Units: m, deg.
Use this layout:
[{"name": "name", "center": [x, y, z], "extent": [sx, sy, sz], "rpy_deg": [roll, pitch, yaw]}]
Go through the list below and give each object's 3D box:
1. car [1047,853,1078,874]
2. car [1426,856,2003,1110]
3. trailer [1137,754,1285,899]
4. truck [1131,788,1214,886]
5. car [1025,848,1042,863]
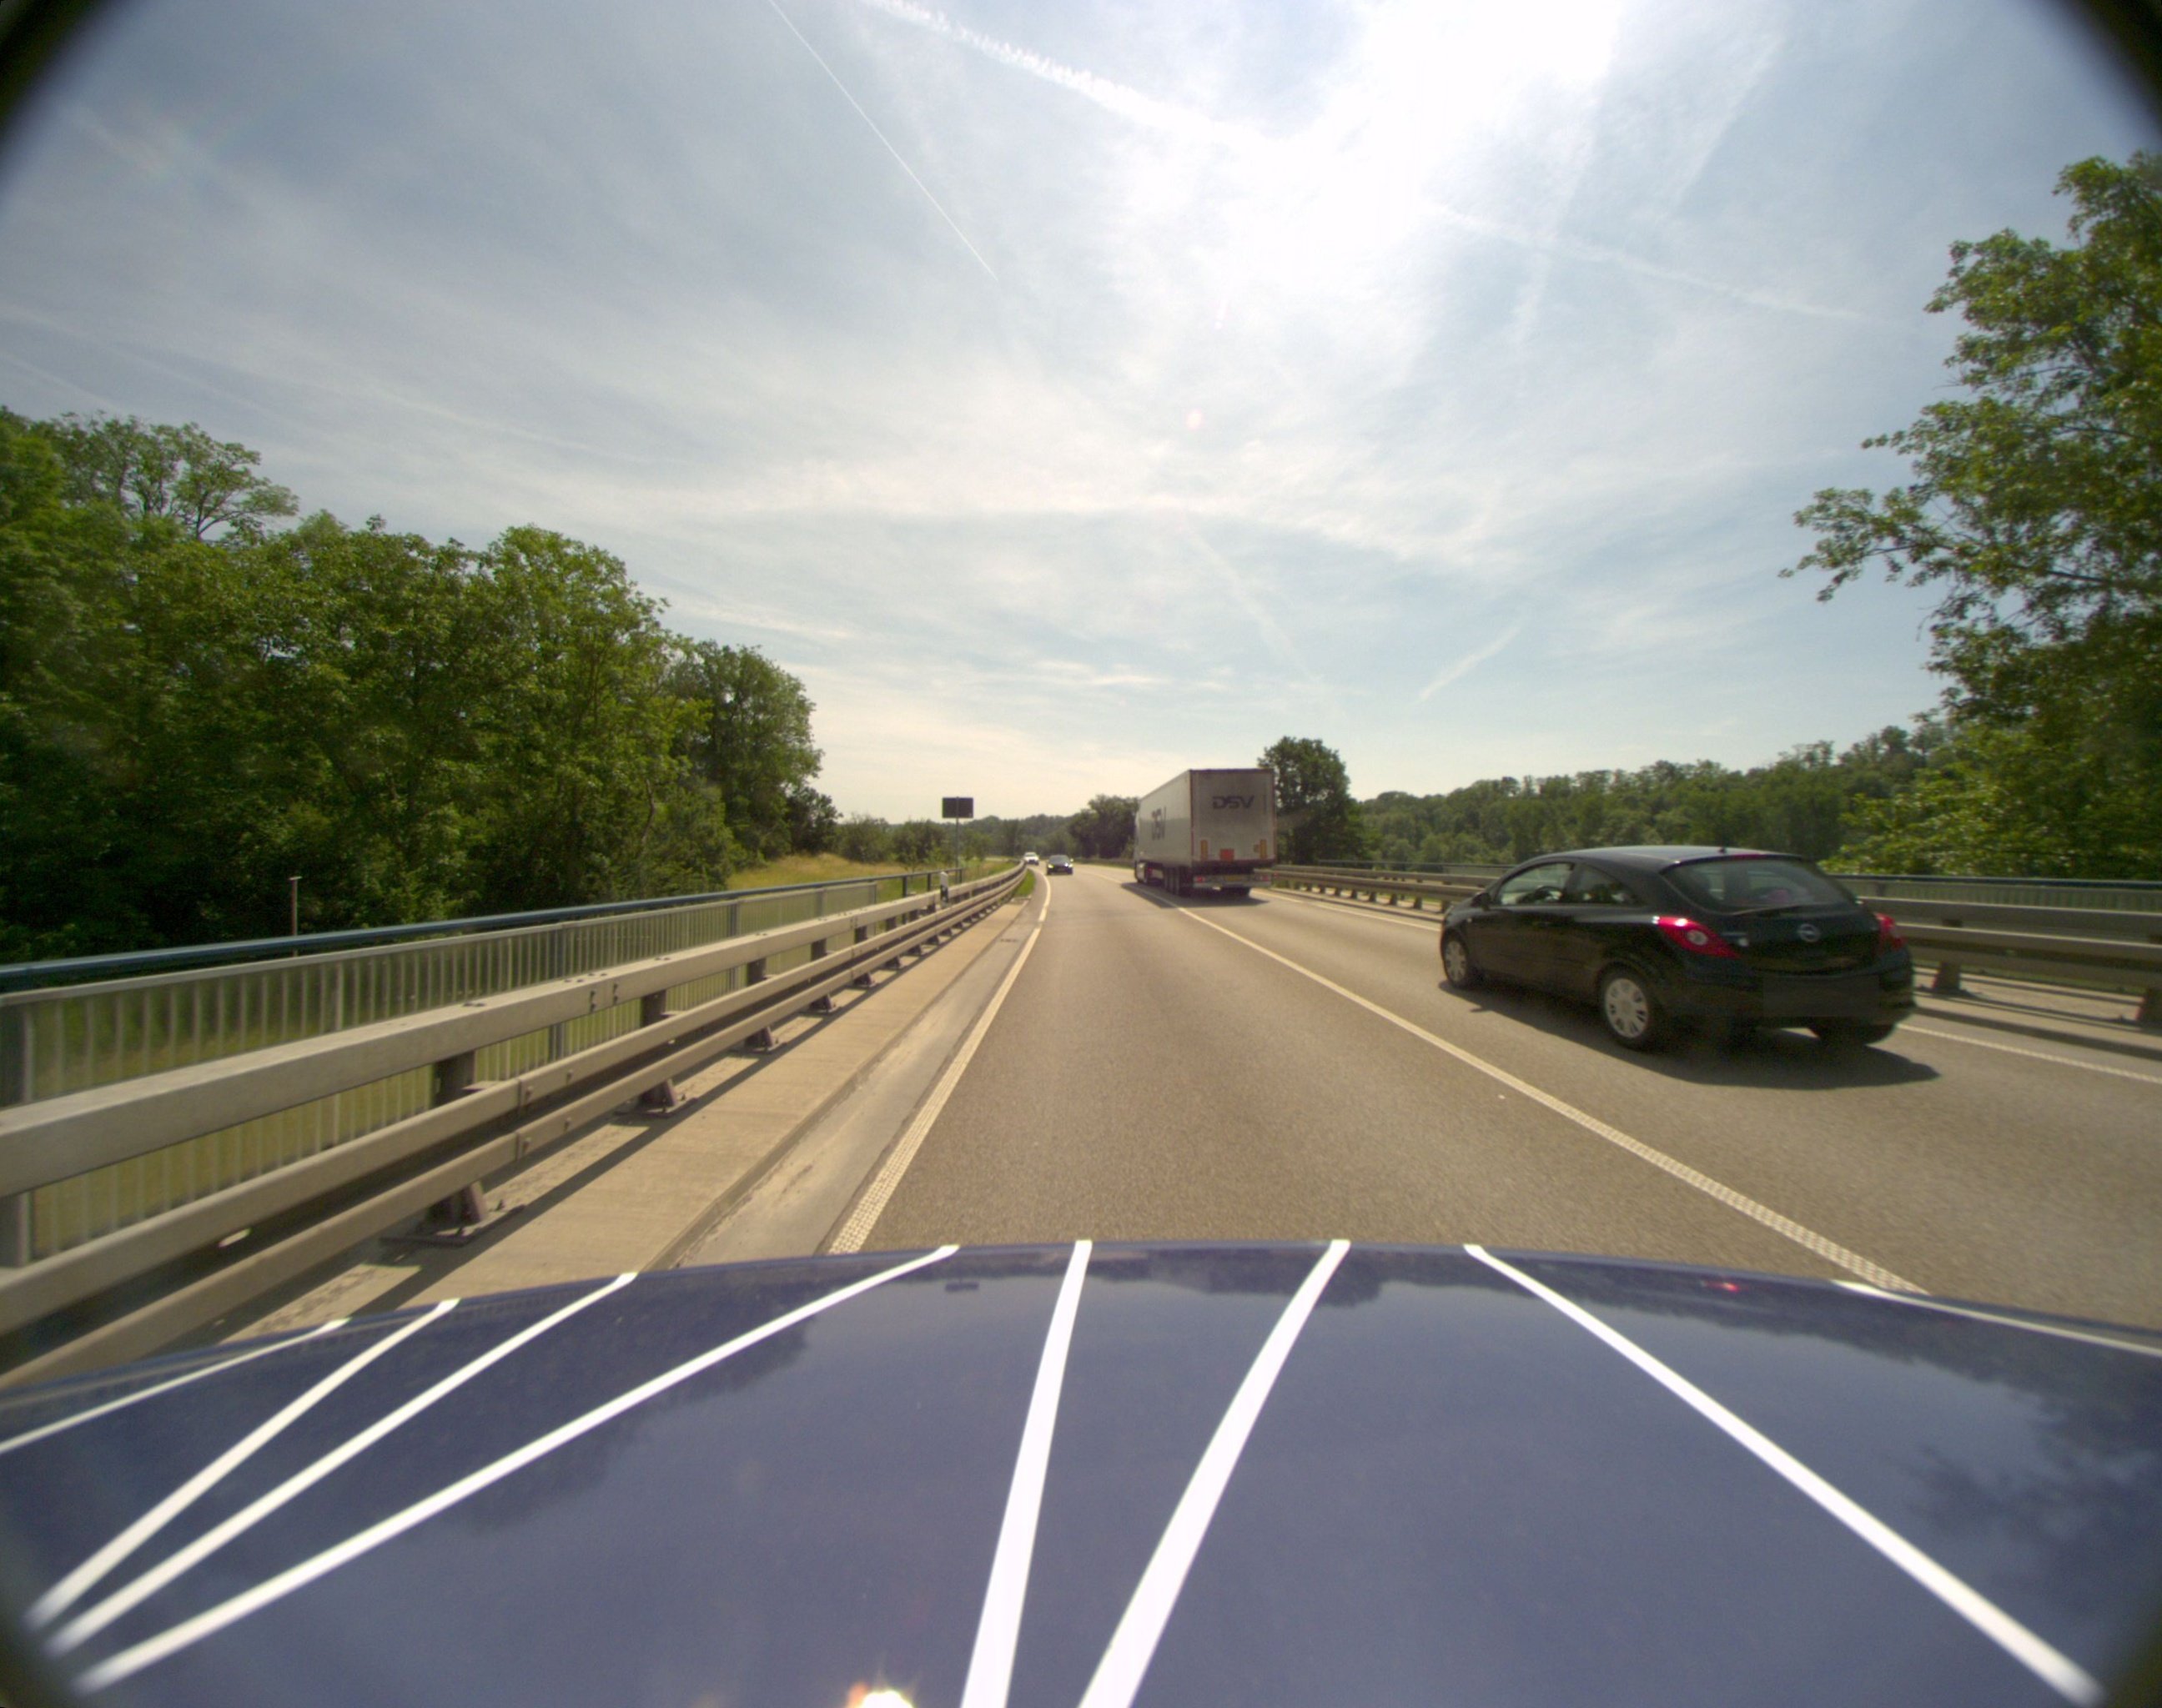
[{"name": "car", "center": [-1.376, 0.687, 55.016], "extent": [1.981, 1.333, 3.997], "rpy_deg": [-2, 1, -4]}, {"name": "car", "center": [4.700, 0.783, 6.519], "extent": [1.665, 1.449, 3.894], "rpy_deg": [-2, 0, 0]}, {"name": "trailer", "center": [4.347, -0.792, 29.465], "extent": [2.860, 4.163, 14.495], "rpy_deg": [-2, 0, -1]}, {"name": "truck", "center": [4.172, -0.753, 35.882], "extent": [2.854, 4.136, 6.329], "rpy_deg": [-2, 0, -2]}, {"name": "car", "center": [-6.141, 0.153, 98.533], "extent": [1.981, 1.779, 3.997], "rpy_deg": [-2, 1, -6]}]
